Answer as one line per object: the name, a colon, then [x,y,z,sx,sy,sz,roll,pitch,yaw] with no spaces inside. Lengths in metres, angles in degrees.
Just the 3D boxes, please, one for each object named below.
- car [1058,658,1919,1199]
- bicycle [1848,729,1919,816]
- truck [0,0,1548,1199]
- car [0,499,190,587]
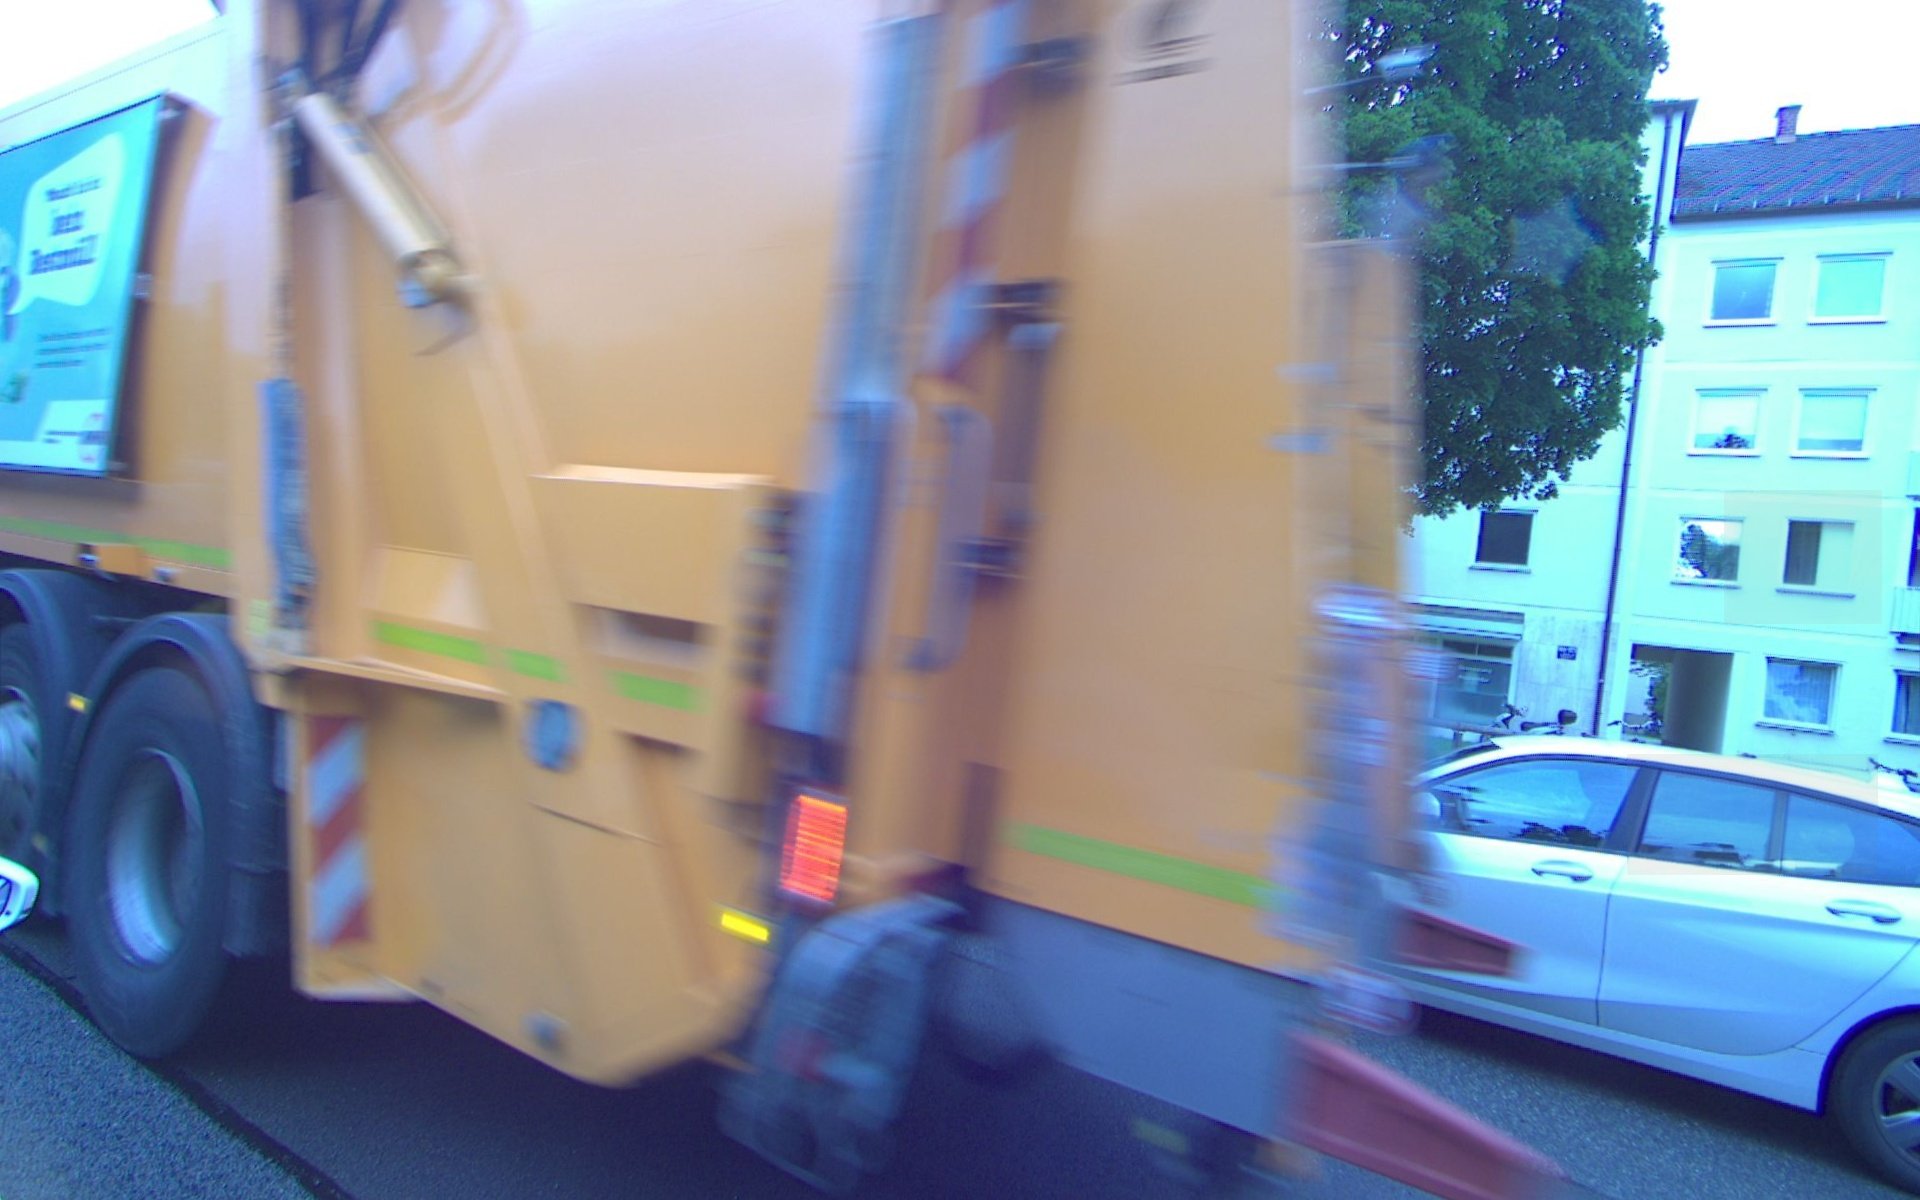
car: [2.756,1.348,4.895,4.067,1.481,1.687,7,-3,30]
bicycle: [12.037,2.202,13.016,0.425,0.985,1.881,7,-2,32]
truck: [-2.625,-0.370,4.716,8.981,3.226,3.044,7,-1,32]
car: [-19.190,-1.243,21.910,3.523,1.434,1.856,8,0,-31]
